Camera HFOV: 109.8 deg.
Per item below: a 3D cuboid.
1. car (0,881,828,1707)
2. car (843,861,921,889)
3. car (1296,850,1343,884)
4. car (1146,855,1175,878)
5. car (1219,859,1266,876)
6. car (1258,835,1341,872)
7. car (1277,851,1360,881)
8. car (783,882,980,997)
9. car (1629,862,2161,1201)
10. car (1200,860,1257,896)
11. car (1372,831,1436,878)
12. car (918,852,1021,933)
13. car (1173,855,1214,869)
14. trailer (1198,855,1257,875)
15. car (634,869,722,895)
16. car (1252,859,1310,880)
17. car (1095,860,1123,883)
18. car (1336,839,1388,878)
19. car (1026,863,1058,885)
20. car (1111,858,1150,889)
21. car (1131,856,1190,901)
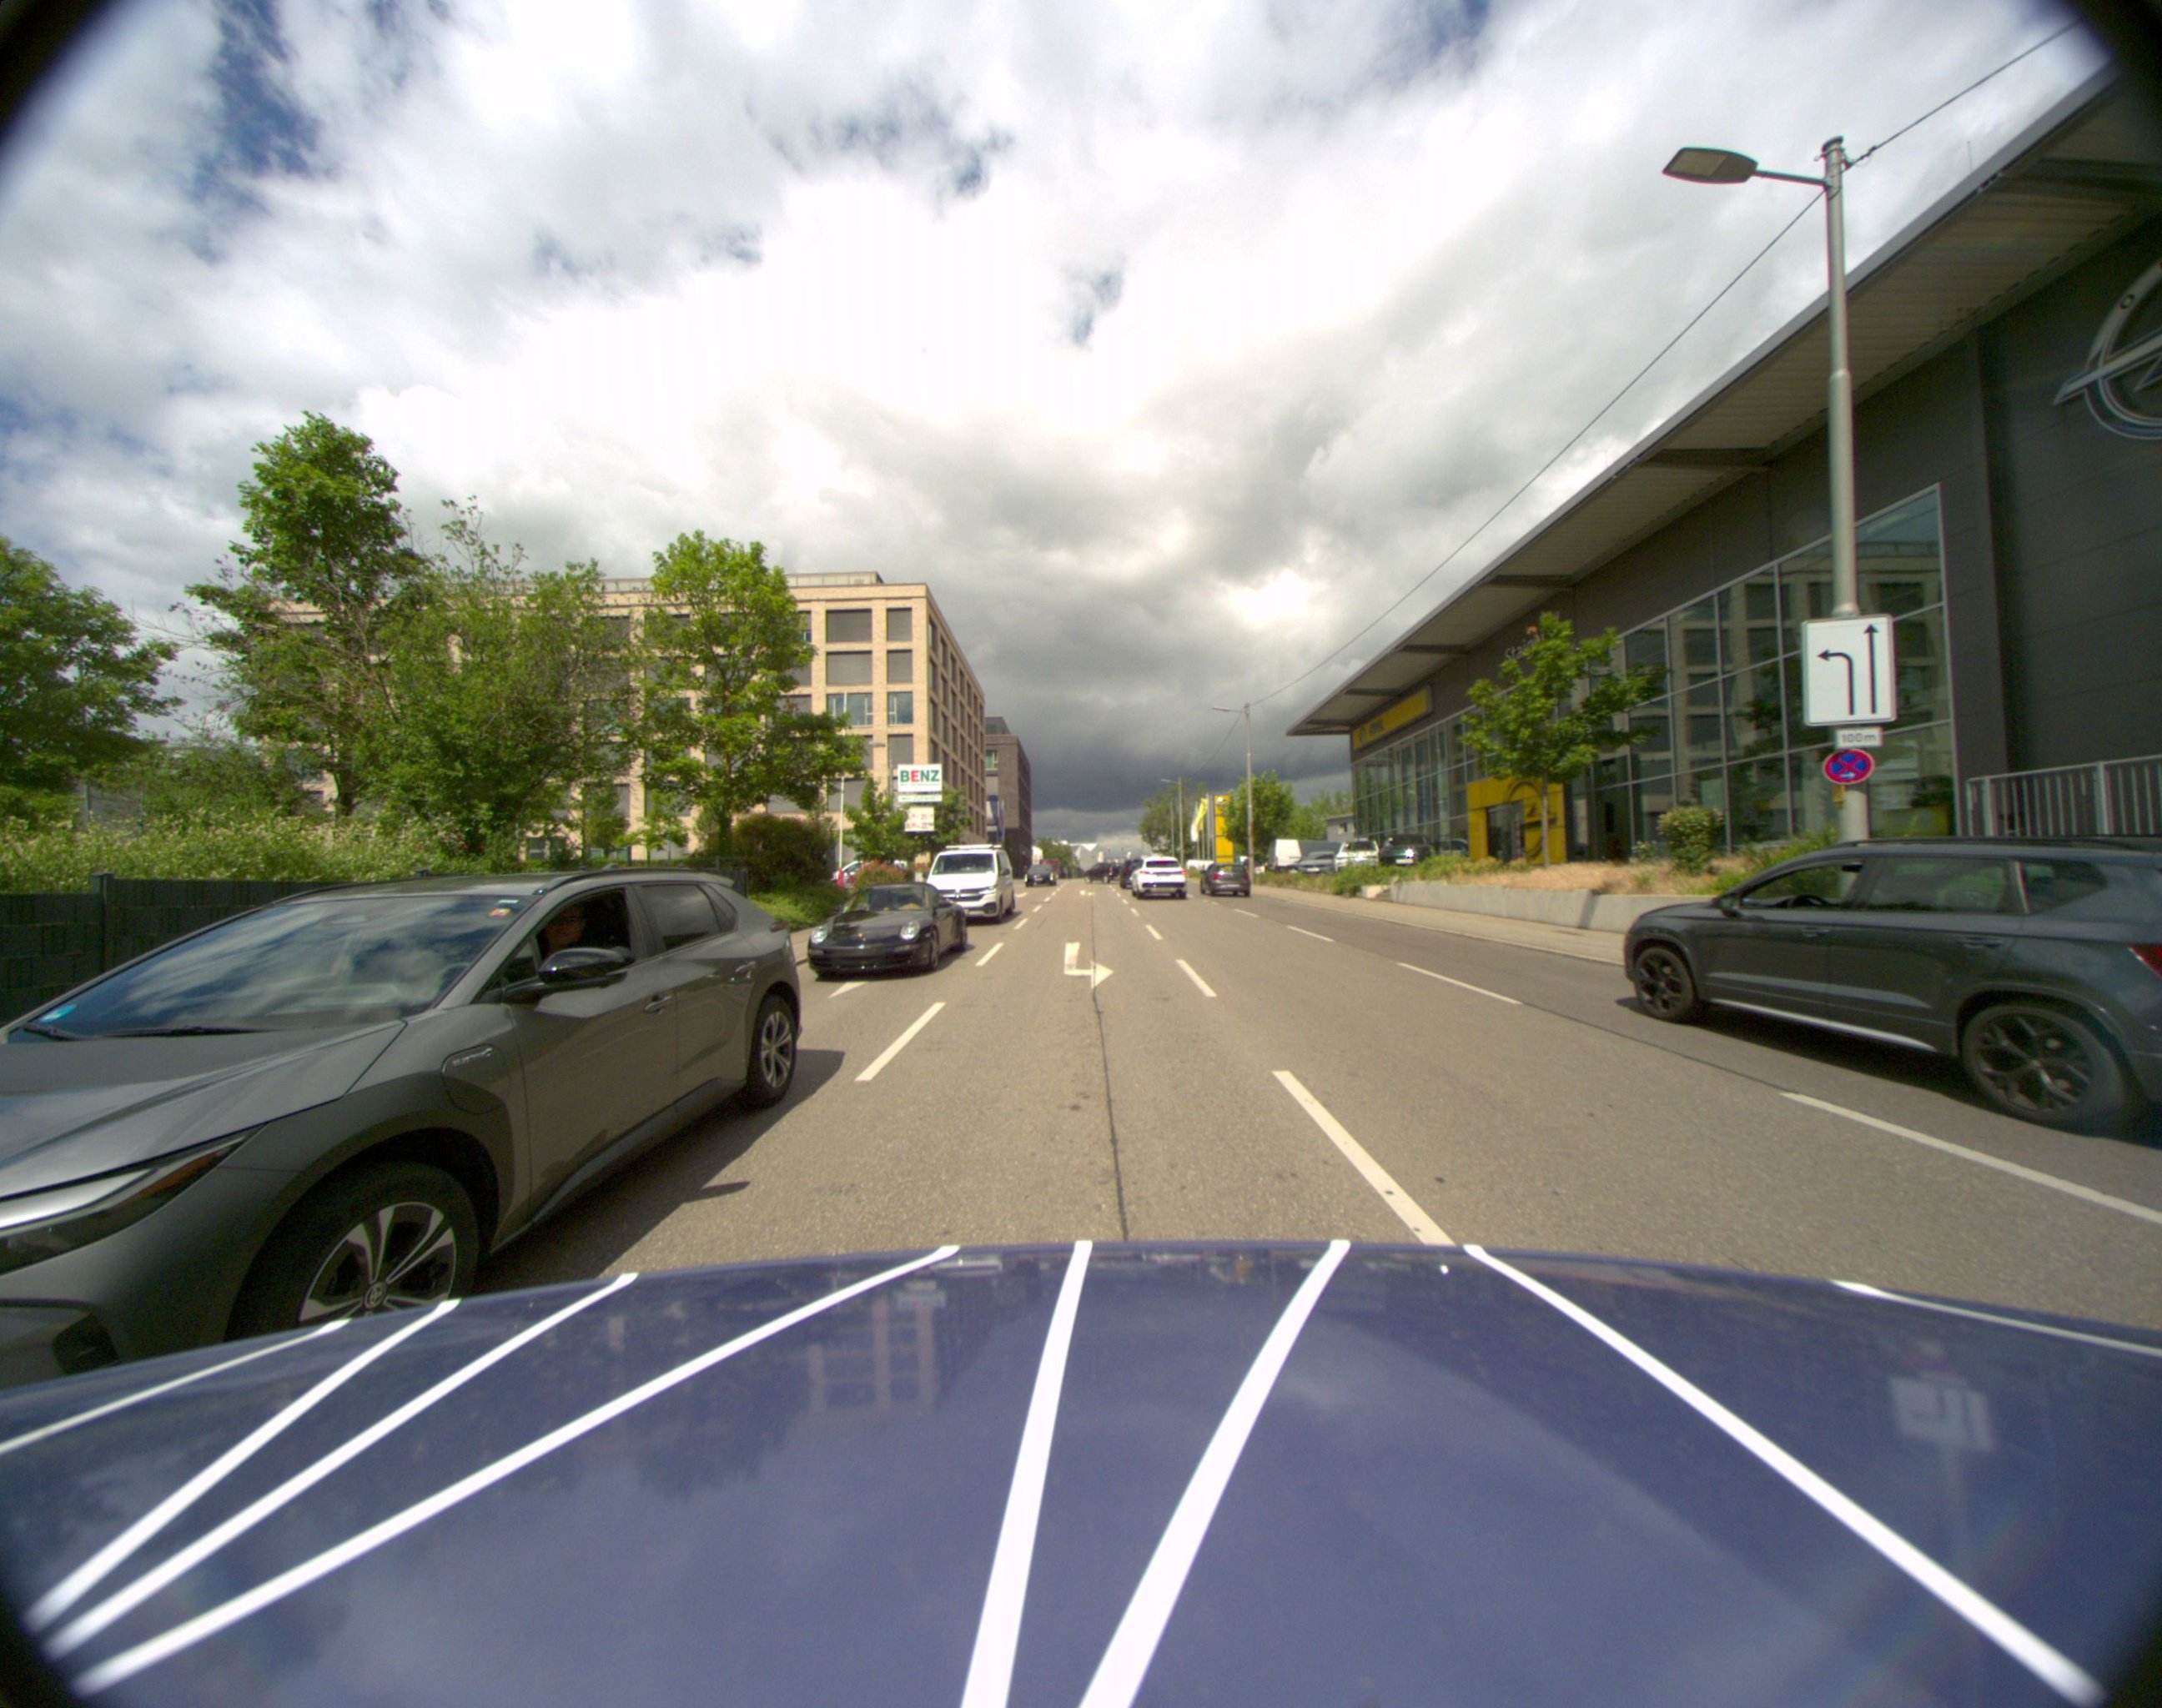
[{"bbox_3d":[-2.964,1.040,3.464,1.924,1.604,4.683,-3,0,1],"label":"car"},{"bbox_3d":[-11.790,1.217,45.146,4.220,1.567,1.735,-1,0,-4],"label":"car"},{"bbox_3d":[12.215,0.638,38.765,1.794,1.604,4.116,-1,0,24],"label":"car"},{"bbox_3d":[6.730,1.001,64.625,1.924,1.848,5.199,1,0,0],"label":"car"},{"bbox_3d":[13.707,1.107,64.516,3.669,1.401,1.815,-1,0,2],"label":"car"},{"bbox_3d":[13.630,-0.045,47.527,4.531,2.182,2.179,-1,1,-1],"label":"car"},{"bbox_3d":[13.336,0.659,42.733,4.108,1.604,1.797,-1,0,-8],"label":"car"},{"bbox_3d":[-2.901,1.203,12.159,1.777,1.267,4.569,-3,0,2],"label":"car"},{"bbox_3d":[5.940,0.848,5.063,1.763,1.513,3.958,-1,0,1],"label":"car"},{"bbox_3d":[6.296,1.004,32.747,1.763,1.405,3.734,1,0,1],"label":"car"},{"bbox_3d":[12.190,0.027,28.525,1.817,1.604,4.117,-1,0,29],"label":"car"},{"bbox_3d":[-2.843,0.939,20.522,1.964,1.840,4.645,-3,0,1],"label":"car"},{"bbox_3d":[12.424,0.911,84.093,4.252,1.473,2.095,-1,0,-2],"label":"car"},{"bbox_3d":[13.152,0.986,68.405,4.835,1.742,2.095,-1,0,-3],"label":"trailer"},{"bbox_3d":[-23.616,1.638,44.586,4.219,1.410,1.735,-1,0,-1],"label":"car"},{"bbox_3d":[14.962,1.134,57.029,3.946,1.518,1.561,-1,0,-2],"label":"car"},{"bbox_3d":[1.883,1.204,52.452,1.731,1.494,3.438,-1,0,-1],"label":"car"},{"bbox_3d":[12.373,0.182,33.321,1.793,1.604,4.116,-1,0,25],"label":"car"},{"bbox_3d":[-2.571,1.316,51.127,1.777,1.267,4.569,-1,0,2],"label":"car"},{"bbox_3d":[2.666,1.034,41.563,1.797,1.604,4.108,-1,0,-1],"label":"car"},{"bbox_3d":[3.093,0.918,30.303,1.924,1.604,4.416,-1,0,1],"label":"car"}]
